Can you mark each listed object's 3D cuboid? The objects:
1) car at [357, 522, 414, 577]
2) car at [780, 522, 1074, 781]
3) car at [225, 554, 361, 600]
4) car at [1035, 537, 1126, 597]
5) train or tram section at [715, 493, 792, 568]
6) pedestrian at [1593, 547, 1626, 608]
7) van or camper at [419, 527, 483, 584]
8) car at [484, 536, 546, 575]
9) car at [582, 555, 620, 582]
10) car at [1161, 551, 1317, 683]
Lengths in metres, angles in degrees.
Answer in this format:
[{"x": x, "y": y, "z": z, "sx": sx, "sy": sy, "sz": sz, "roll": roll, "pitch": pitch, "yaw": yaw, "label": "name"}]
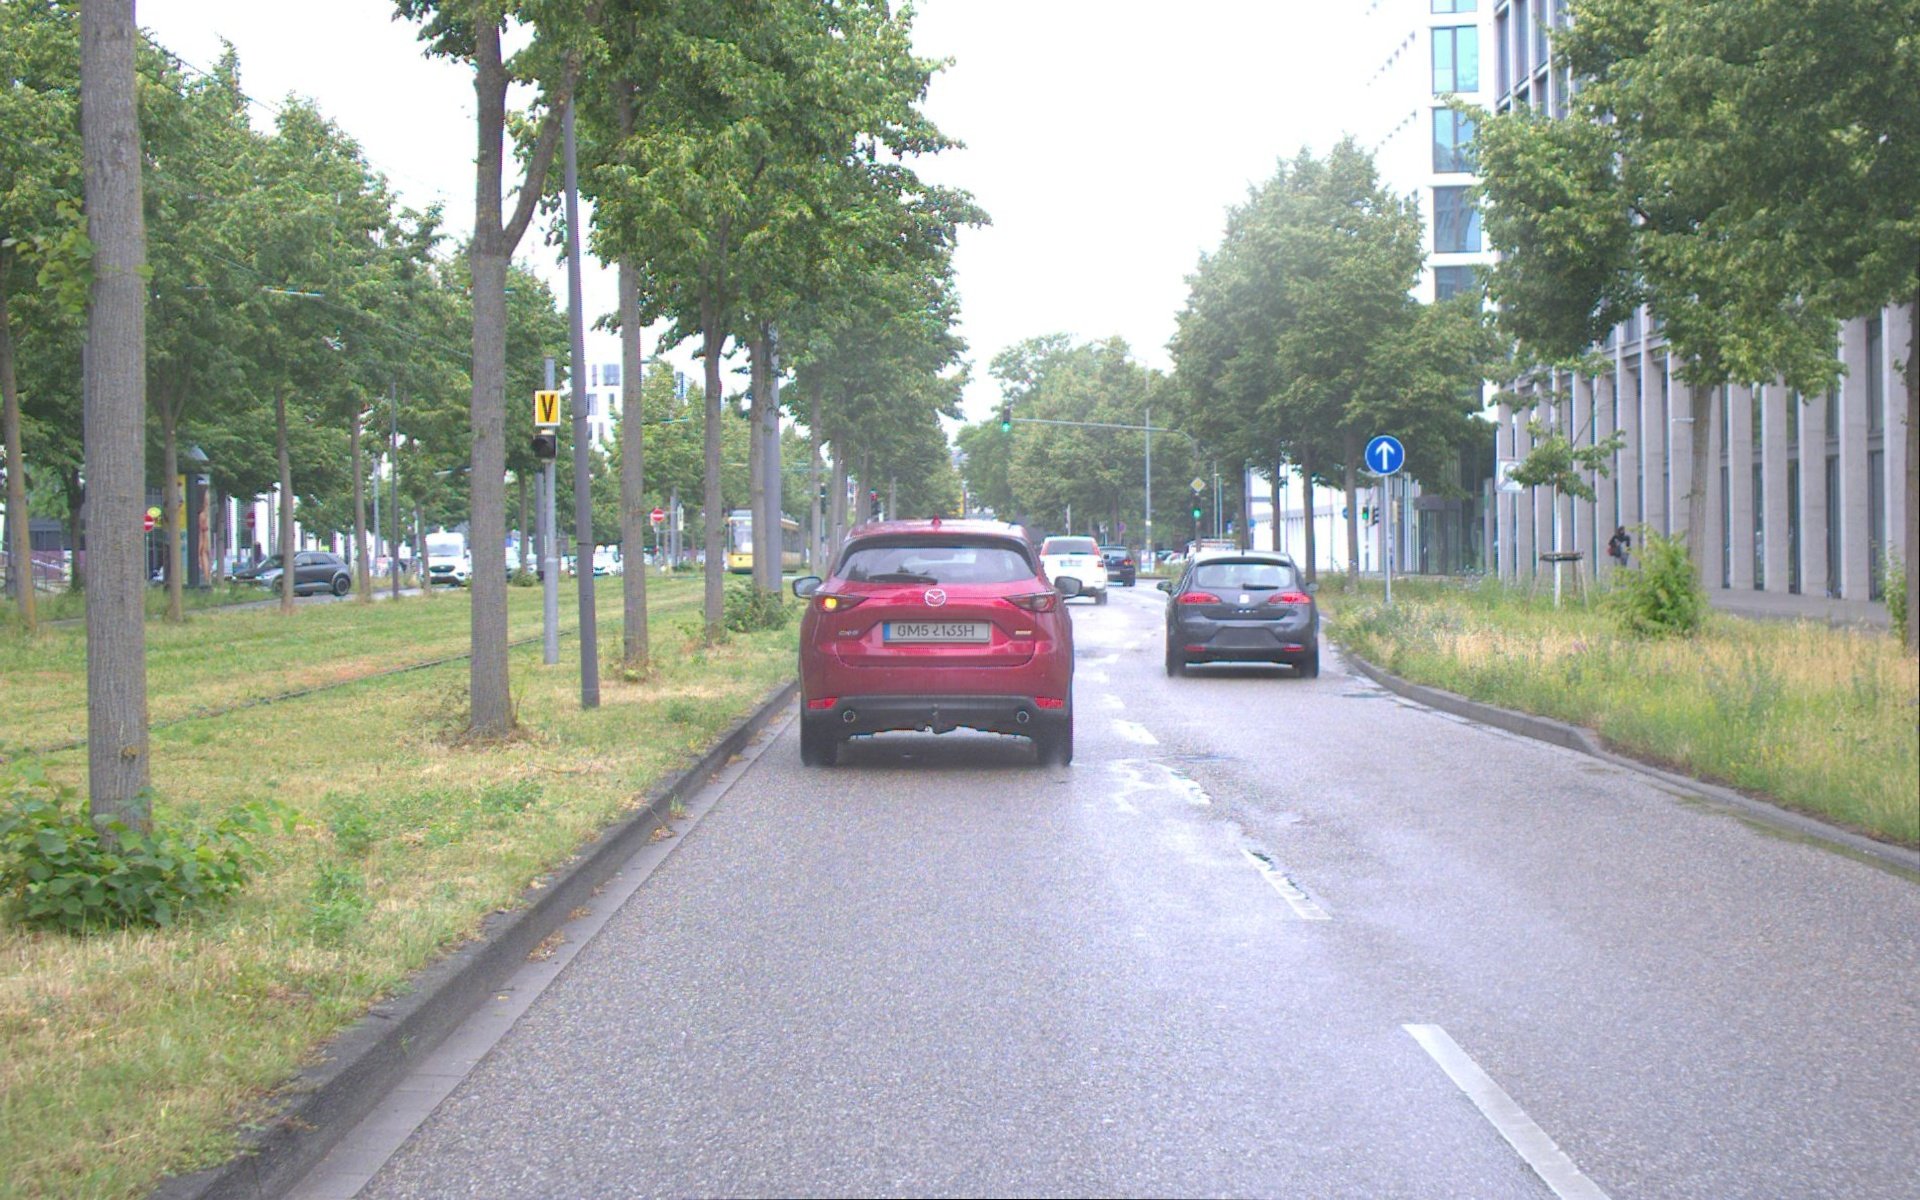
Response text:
[{"x": -27.332, "y": -2.413, "z": 163.598, "sx": 2.255, "sy": 2.553, "sz": 4.656, "roll": 0, "pitch": 1, "yaw": -4, "label": "car"}, {"x": -0.238, "y": 0.293, "z": 24.213, "sx": 1.898, "sy": 1.671, "sz": 4.000, "roll": 0, "pitch": 1, "yaw": -1, "label": "car"}, {"x": -23.038, "y": -0.818, "z": 118.888, "sx": 1.997, "sy": 1.516, "sz": 4.673, "roll": 0, "pitch": 1, "yaw": 31, "label": "car"}, {"x": 2.983, "y": -0.848, "z": 85.811, "sx": 1.967, "sy": 1.432, "sz": 4.553, "roll": 1, "pitch": 1, "yaw": -1, "label": "car"}, {"x": -10.494, "y": -3.545, "z": 176.020, "sx": 3.129, "sy": 3.646, "sz": 13.407, "roll": -1, "pitch": 1, "yaw": 0, "label": "train or tram section"}, {"x": 18.840, "y": -0.658, "z": 99.773, "sx": 0.717, "sy": 1.709, "sz": 0.861, "roll": -2, "pitch": 1, "yaw": -1, "label": "pedestrian"}, {"x": -21.864, "y": -1.940, "z": 147.863, "sx": 1.909, "sy": 2.402, "sz": 5.402, "roll": -1, "pitch": 1, "yaw": 0, "label": "van or camper"}, {"x": -17.678, "y": -1.787, "z": 136.681, "sx": 1.863, "sy": 1.519, "sz": 4.479, "roll": -1, "pitch": 1, "yaw": 0, "label": "car"}, {"x": -19.820, "y": -1.743, "z": 190.029, "sx": 1.710, "sy": 1.399, "sz": 4.000, "roll": 0, "pitch": 1, "yaw": 0, "label": "car"}, {"x": 3.234, "y": 0.160, "z": 40.376, "sx": 1.744, "sy": 1.460, "sz": 3.781, "roll": 0, "pitch": 1, "yaw": 3, "label": "car"}]
